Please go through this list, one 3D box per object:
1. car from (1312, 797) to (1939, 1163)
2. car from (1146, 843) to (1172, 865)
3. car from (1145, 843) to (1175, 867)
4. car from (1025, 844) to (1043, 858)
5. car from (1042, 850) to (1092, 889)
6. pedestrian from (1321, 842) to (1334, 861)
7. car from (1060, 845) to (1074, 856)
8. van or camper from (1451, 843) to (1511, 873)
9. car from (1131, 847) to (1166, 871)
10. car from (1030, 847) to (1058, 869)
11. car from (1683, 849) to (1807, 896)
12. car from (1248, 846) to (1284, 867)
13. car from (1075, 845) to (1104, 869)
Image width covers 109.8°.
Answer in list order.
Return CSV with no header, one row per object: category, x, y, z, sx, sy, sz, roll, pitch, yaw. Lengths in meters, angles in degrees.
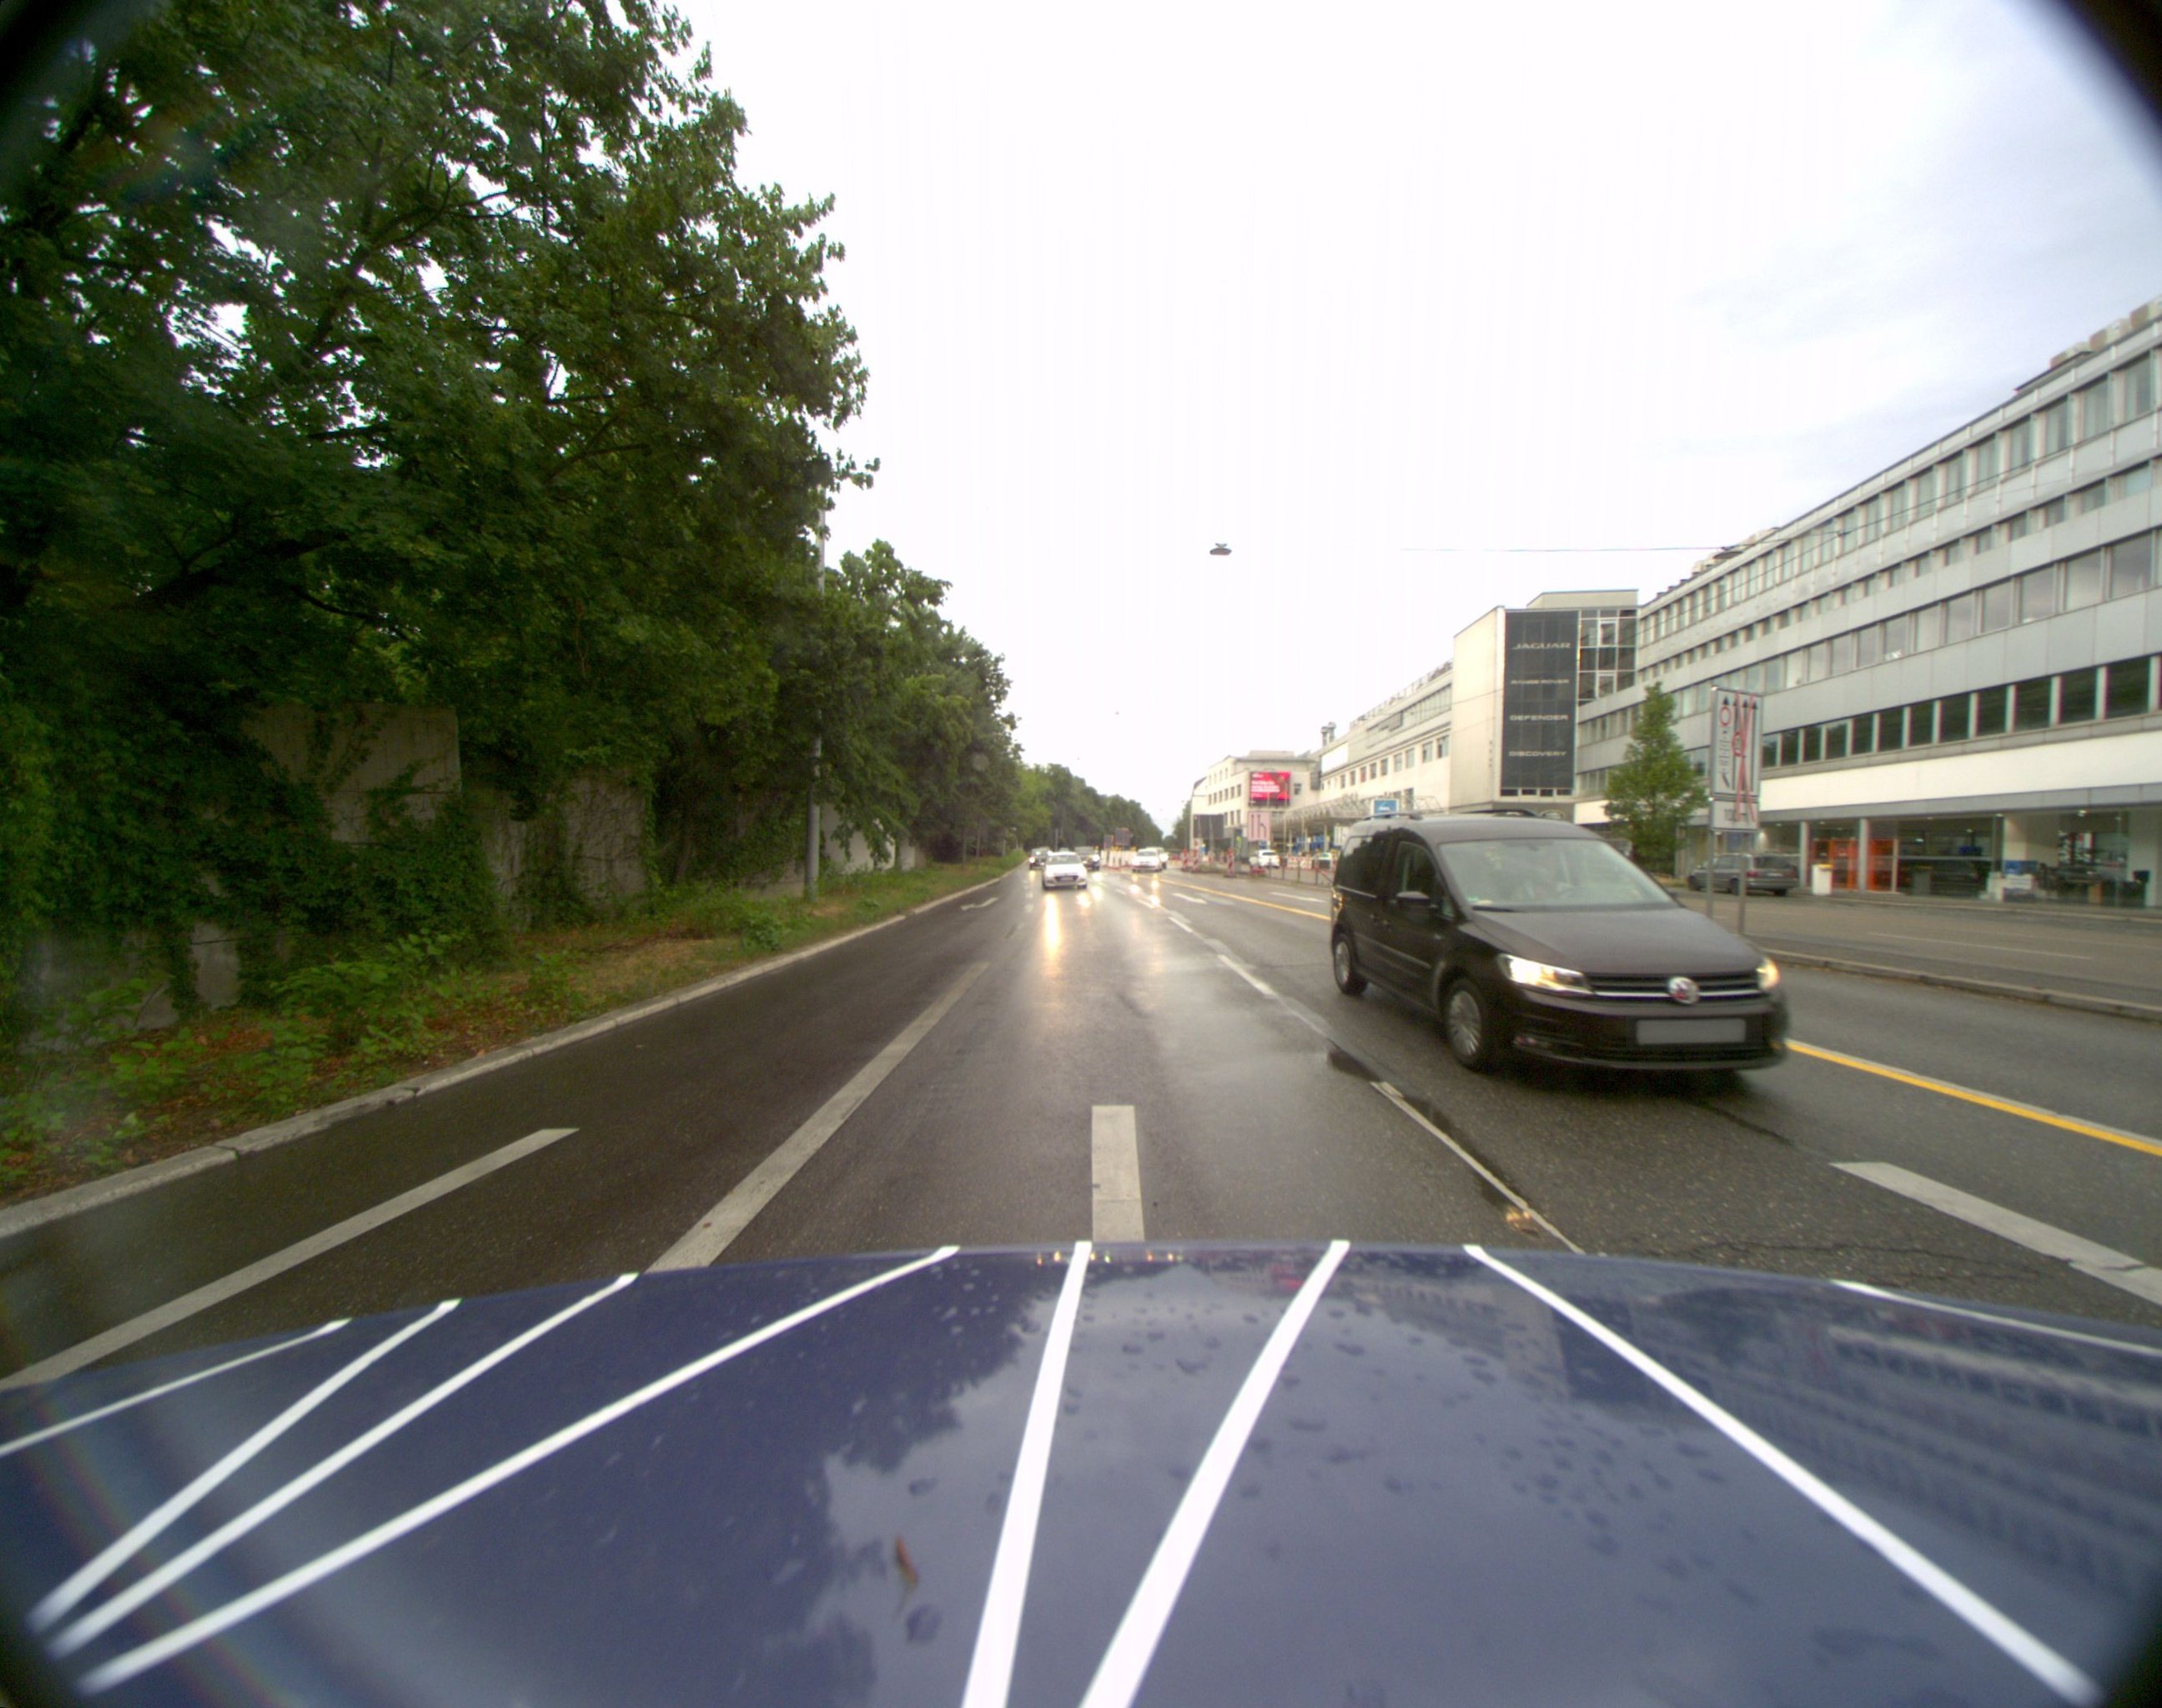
car,3.443,0.624,6.082,1.905,1.804,4.430,-2,1,2
car,6.296,-0.030,61.764,1.771,1.608,3.949,-2,1,2
car,5.659,0.060,54.953,1.771,1.628,4.333,-2,1,2
car,-5.897,-0.427,95.001,1.814,1.590,4.333,-2,1,2
car,-0.519,0.596,31.941,1.814,1.444,4.333,-2,1,2
pedestrian,23.841,-0.208,73.519,0.895,1.804,0.941,-2,1,5
car,-2.052,-0.531,112.694,1.814,1.590,4.333,-2,1,2
van or camper,26.241,0.218,49.998,1.939,1.913,4.686,0,1,7
car,4.478,0.306,49.633,1.769,1.407,4.336,-2,1,11
car,-2.872,0.317,59.911,1.814,1.590,4.333,-2,1,2
car,28.265,0.739,32.551,1.922,1.805,4.166,-2,1,6
car,14.867,0.223,61.166,1.806,1.523,3.763,3,0,-2
car,0.548,0.178,52.837,1.814,1.590,4.332,-2,1,-2
